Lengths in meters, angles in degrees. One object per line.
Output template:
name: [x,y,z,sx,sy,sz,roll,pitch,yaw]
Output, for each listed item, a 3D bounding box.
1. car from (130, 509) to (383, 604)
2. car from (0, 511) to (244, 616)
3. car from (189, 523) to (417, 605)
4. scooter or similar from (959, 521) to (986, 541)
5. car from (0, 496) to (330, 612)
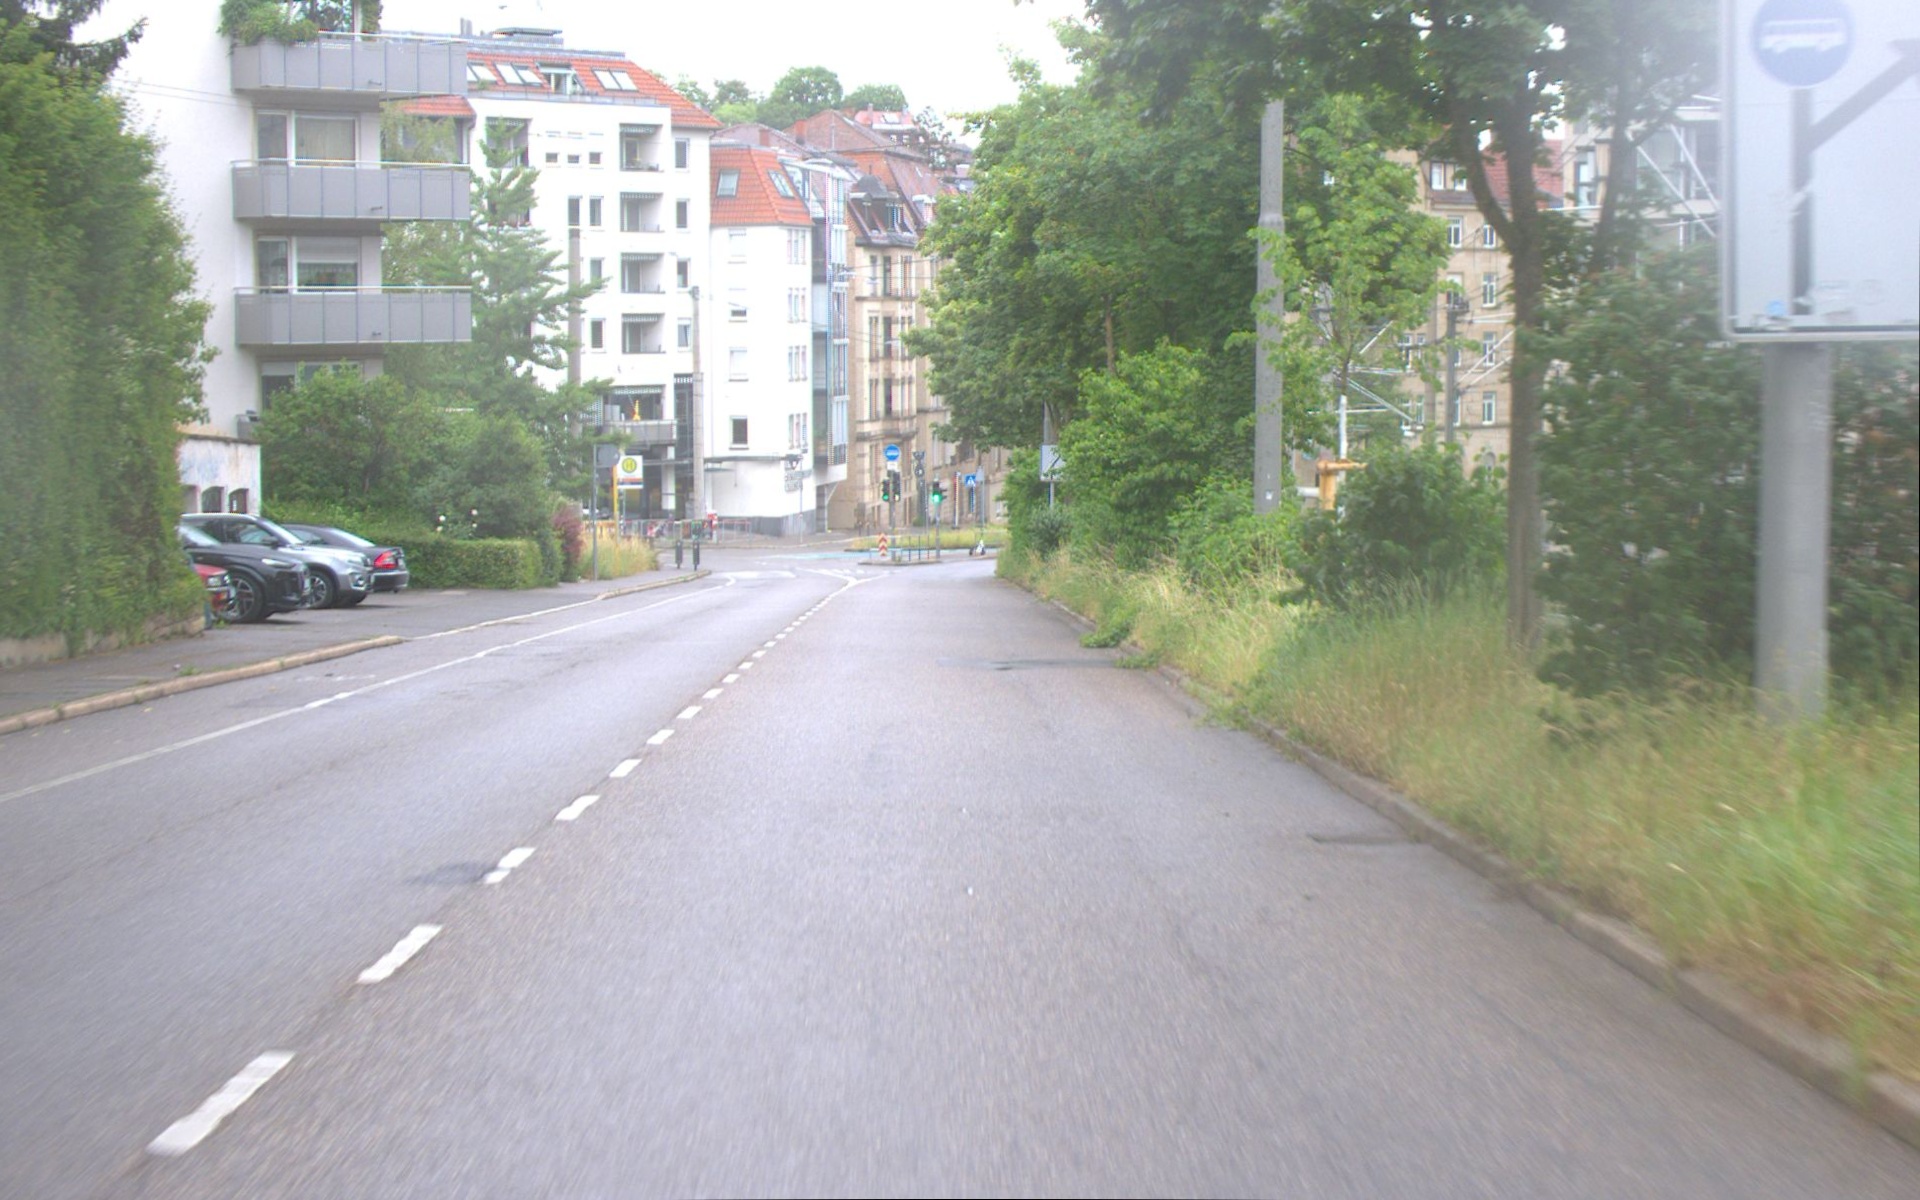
car: [-11.820,-0.737,57.961,3.986,1.554,1.881,0,1,-5]
car: [-11.758,-0.501,47.206,3.630,1.400,1.717,0,1,-7]
car: [-11.494,-0.634,60.280,3.631,1.402,1.783,0,1,1]
scooter or similar: [0.491,-2.679,133.647,0.485,0.759,1.328,0,1,27]
car: [-11.561,-0.684,50.111,4.449,1.597,1.814,0,3,-1]
